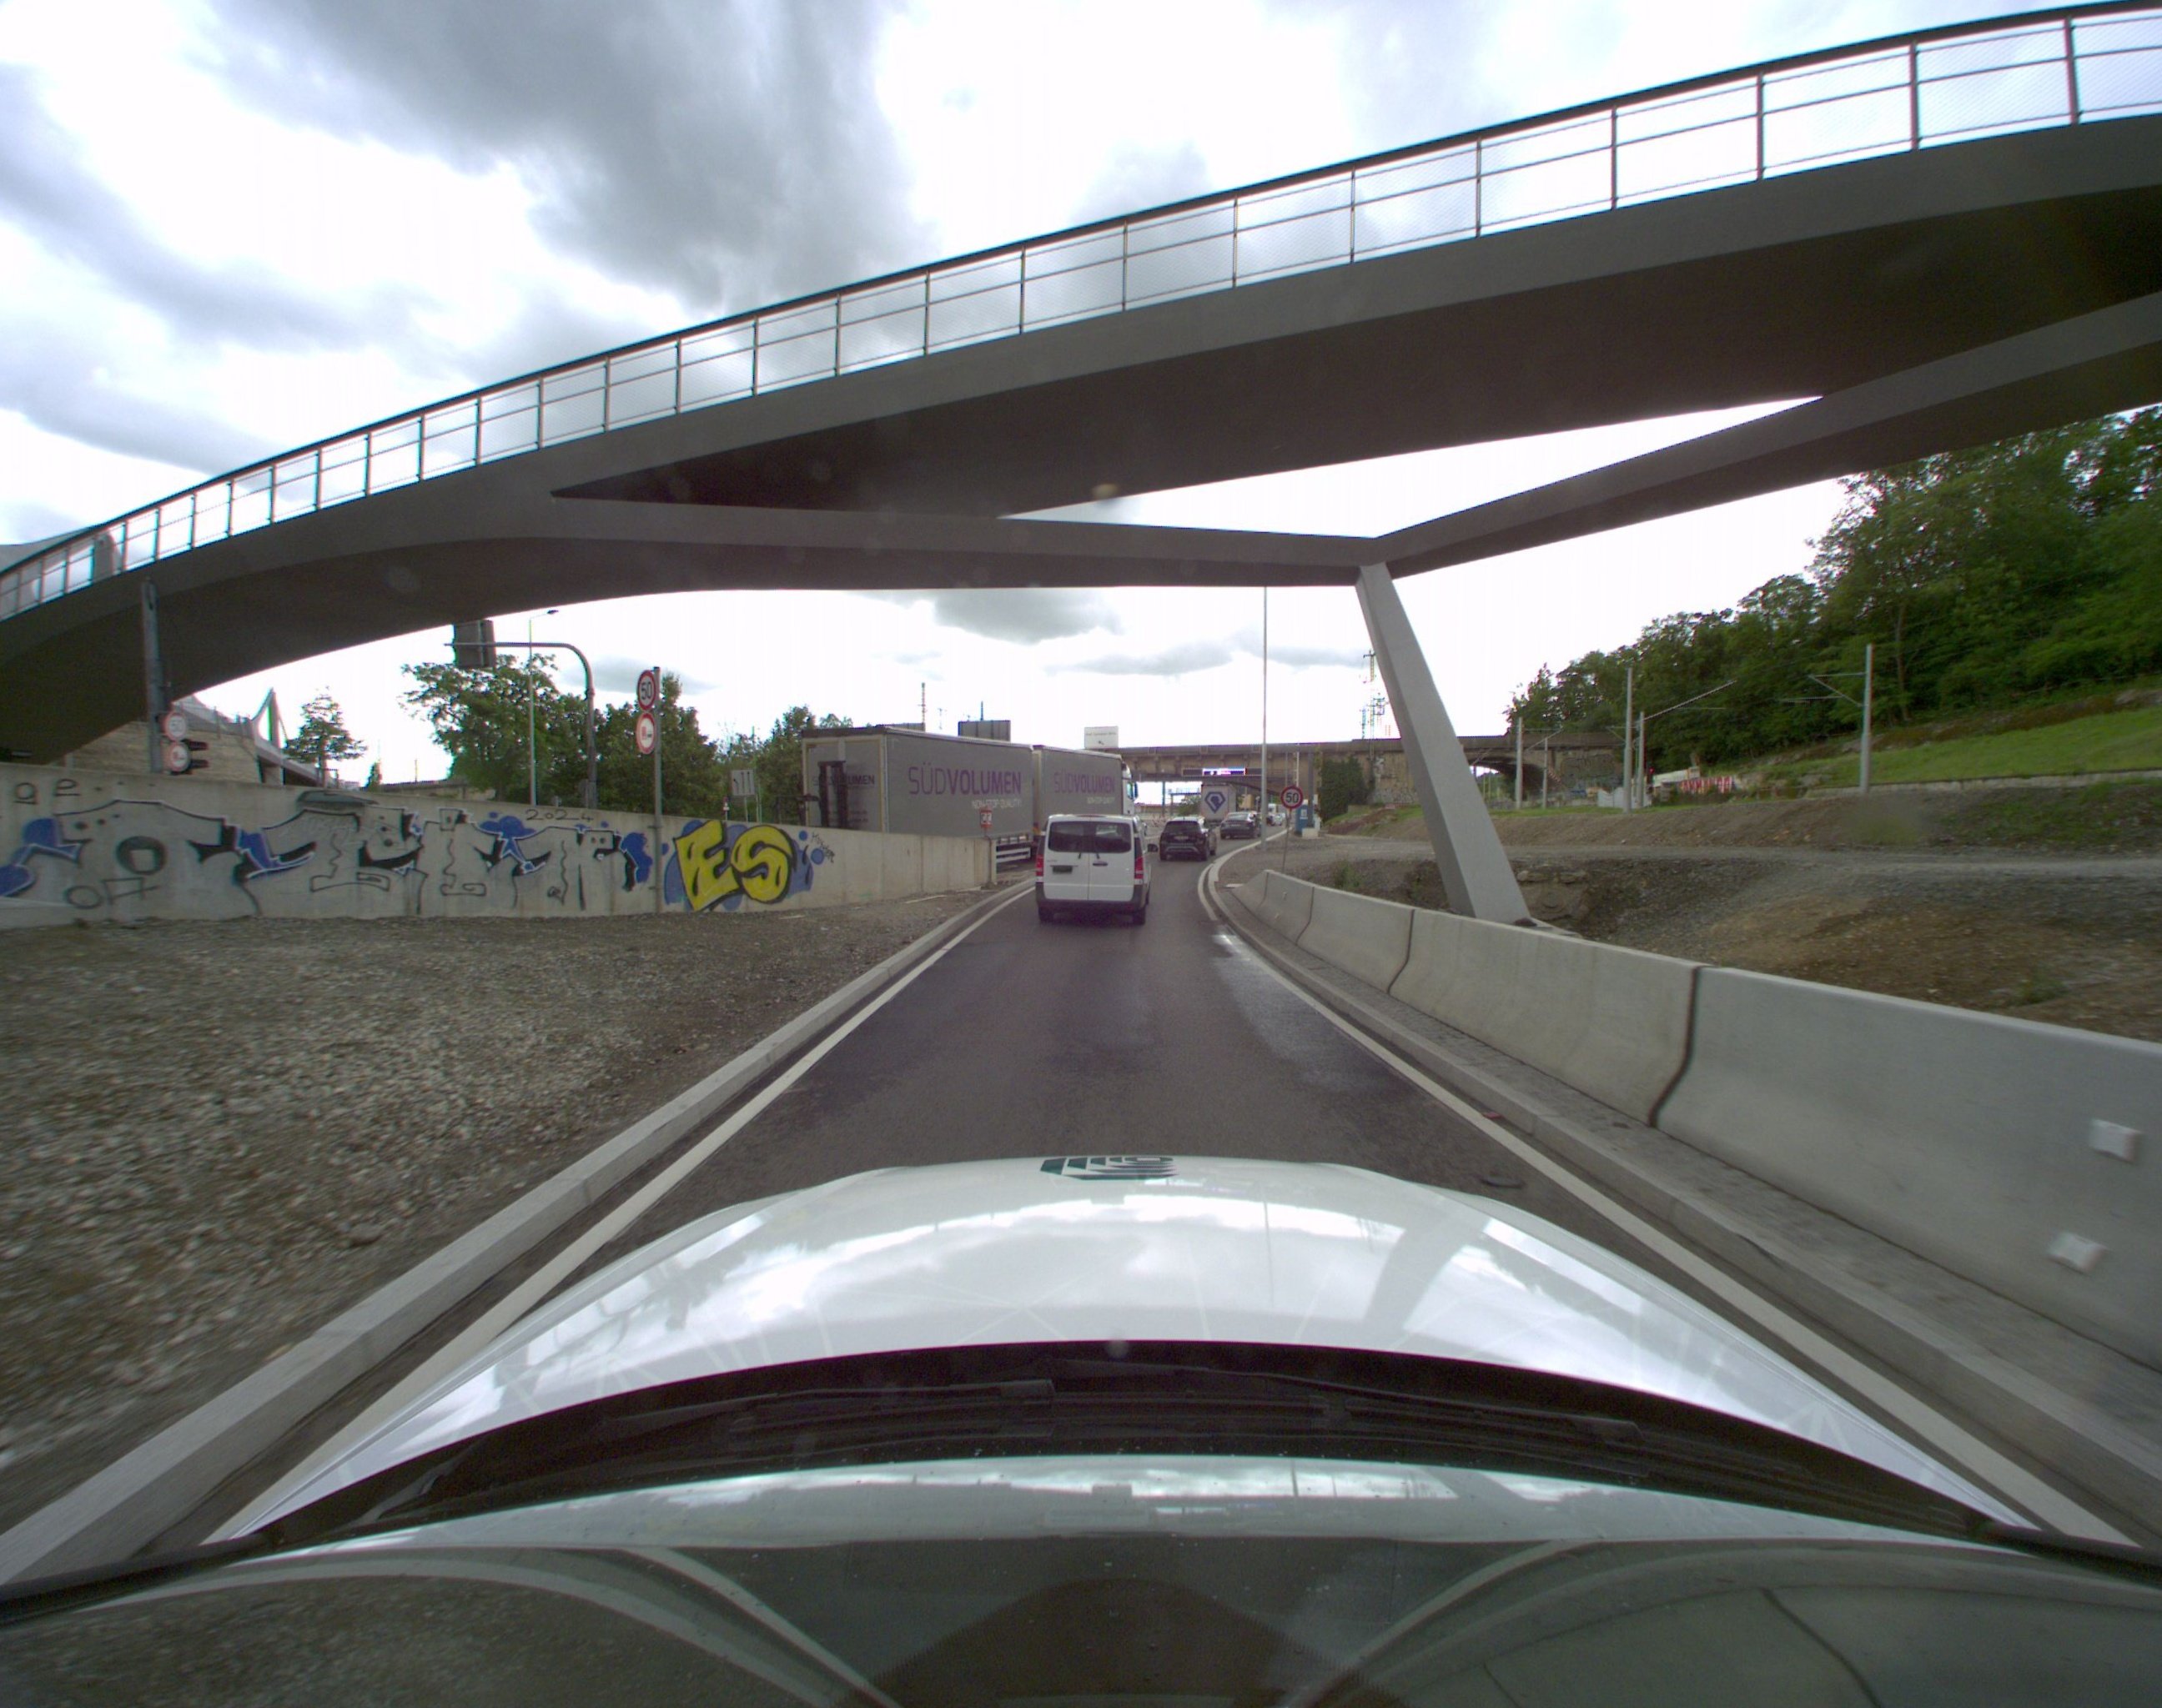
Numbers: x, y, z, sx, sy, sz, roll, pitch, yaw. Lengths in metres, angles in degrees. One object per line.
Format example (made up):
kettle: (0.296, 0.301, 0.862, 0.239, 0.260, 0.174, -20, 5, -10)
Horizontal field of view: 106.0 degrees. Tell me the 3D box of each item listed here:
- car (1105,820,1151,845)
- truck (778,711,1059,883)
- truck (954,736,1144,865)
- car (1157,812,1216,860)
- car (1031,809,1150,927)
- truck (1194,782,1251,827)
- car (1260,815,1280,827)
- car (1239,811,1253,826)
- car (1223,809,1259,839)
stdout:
car: (3.183, -1.409, 54.218, 1.977, 1.552, 4.019, 1, 1, 19)
truck: (-4.099, -1.684, 24.214, 2.892, 4.015, 10.260, 2, 4, 23)
truck: (-0.734, -2.157, 32.282, 2.961, 4.174, 11.306, 2, 4, 23)
car: (4.022, -0.734, 30.649, 1.737, 1.624, 3.860, 2, 3, 13)
car: (0.353, 0.178, 15.478, 1.867, 1.890, 4.761, 0, 1, 5)
truck: (14.020, -4.741, 79.286, 3.291, 3.808, 16.672, 3, 4, 17)
car: (32.925, -5.757, 141.746, 1.880, 1.808, 4.513, 2, 1, 31)
car: (24.094, -5.191, 119.062, 1.885, 2.115, 4.500, 2, 1, 12)
car: (8.781, -1.658, 44.539, 1.489, 1.468, 3.417, 2, 5, 19)
